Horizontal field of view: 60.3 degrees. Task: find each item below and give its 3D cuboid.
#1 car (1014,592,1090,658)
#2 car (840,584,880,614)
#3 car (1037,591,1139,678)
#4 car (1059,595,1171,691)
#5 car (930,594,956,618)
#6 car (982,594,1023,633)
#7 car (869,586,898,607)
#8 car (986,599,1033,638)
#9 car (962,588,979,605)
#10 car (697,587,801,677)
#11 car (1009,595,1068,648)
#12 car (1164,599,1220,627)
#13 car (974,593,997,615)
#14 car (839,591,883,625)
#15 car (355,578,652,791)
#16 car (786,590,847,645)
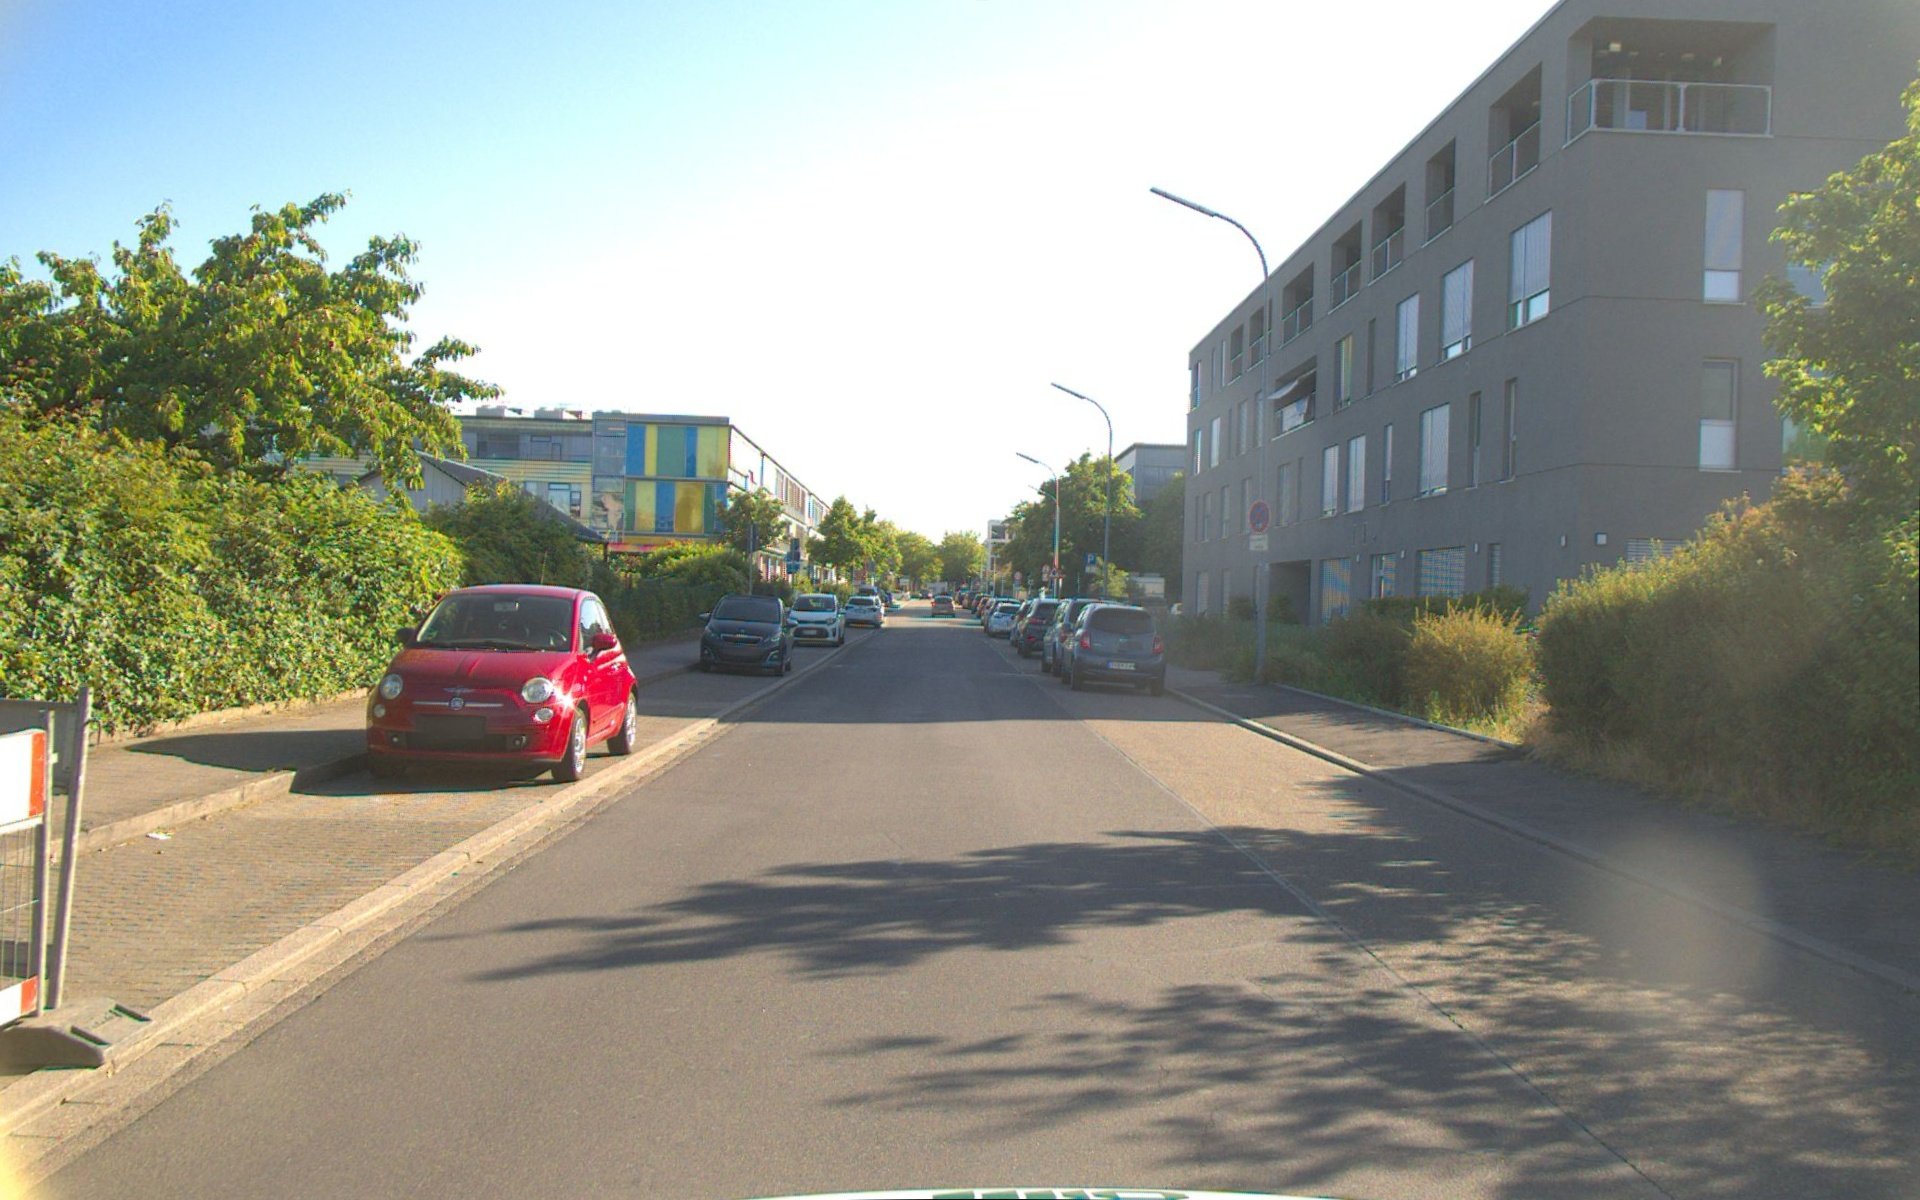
[{"bbox_3d":[2.491,0.653,45.675,1.706,1.653,4.178,3,0,-1],"label":"car"},{"bbox_3d":[-5.131,-0.057,85.620,1.817,1.453,4.133,3,0,-1],"label":"car"},{"bbox_3d":[2.681,0.696,35.466,1.643,1.636,4.177,4,0,-2],"label":"car"},{"bbox_3d":[2.787,0.737,30.414,1.590,1.553,3.901,4,0,0],"label":"car"},{"bbox_3d":[-1.199,0.438,116.199,1.655,1.576,3.613,3,0,-2],"label":"car"},{"bbox_3d":[1.909,0.598,75.613,1.600,1.658,3.613,3,0,-2],"label":"car"},{"bbox_3d":[-6.360,-0.305,137.670,1.816,1.590,4.136,3,0,4],"label":"car"},{"bbox_3d":[2.061,0.756,69.606,1.706,1.453,4.133,3,0,-1],"label":"car"},{"bbox_3d":[1.049,-0.331,165.635,1.416,1.576,3.613,3,0,-2],"label":"car"},{"bbox_3d":[-4.022,0.582,32.004,1.528,1.520,3.569,4,0,-1],"label":"car"},{"bbox_3d":[2.562,0.685,54.672,1.624,1.578,3.850,3,0,-1],"label":"car"},{"bbox_3d":[14.072,0.777,100.422,3.150,1.486,1.450,3,0,2],"label":"car"},{"bbox_3d":[1.903,0.295,124.240,1.416,1.576,3.613,3,0,-2],"label":"car"},{"bbox_3d":[-4.649,0.379,78.340,1.817,1.453,4.133,3,0,-1],"label":"car"},{"bbox_3d":[-3.663,0.617,13.863,1.528,1.521,3.569,1,0,-1],"label":"car"},{"bbox_3d":[-4.229,0.497,49.045,1.528,1.521,3.757,1,0,-1],"label":"car"}]
